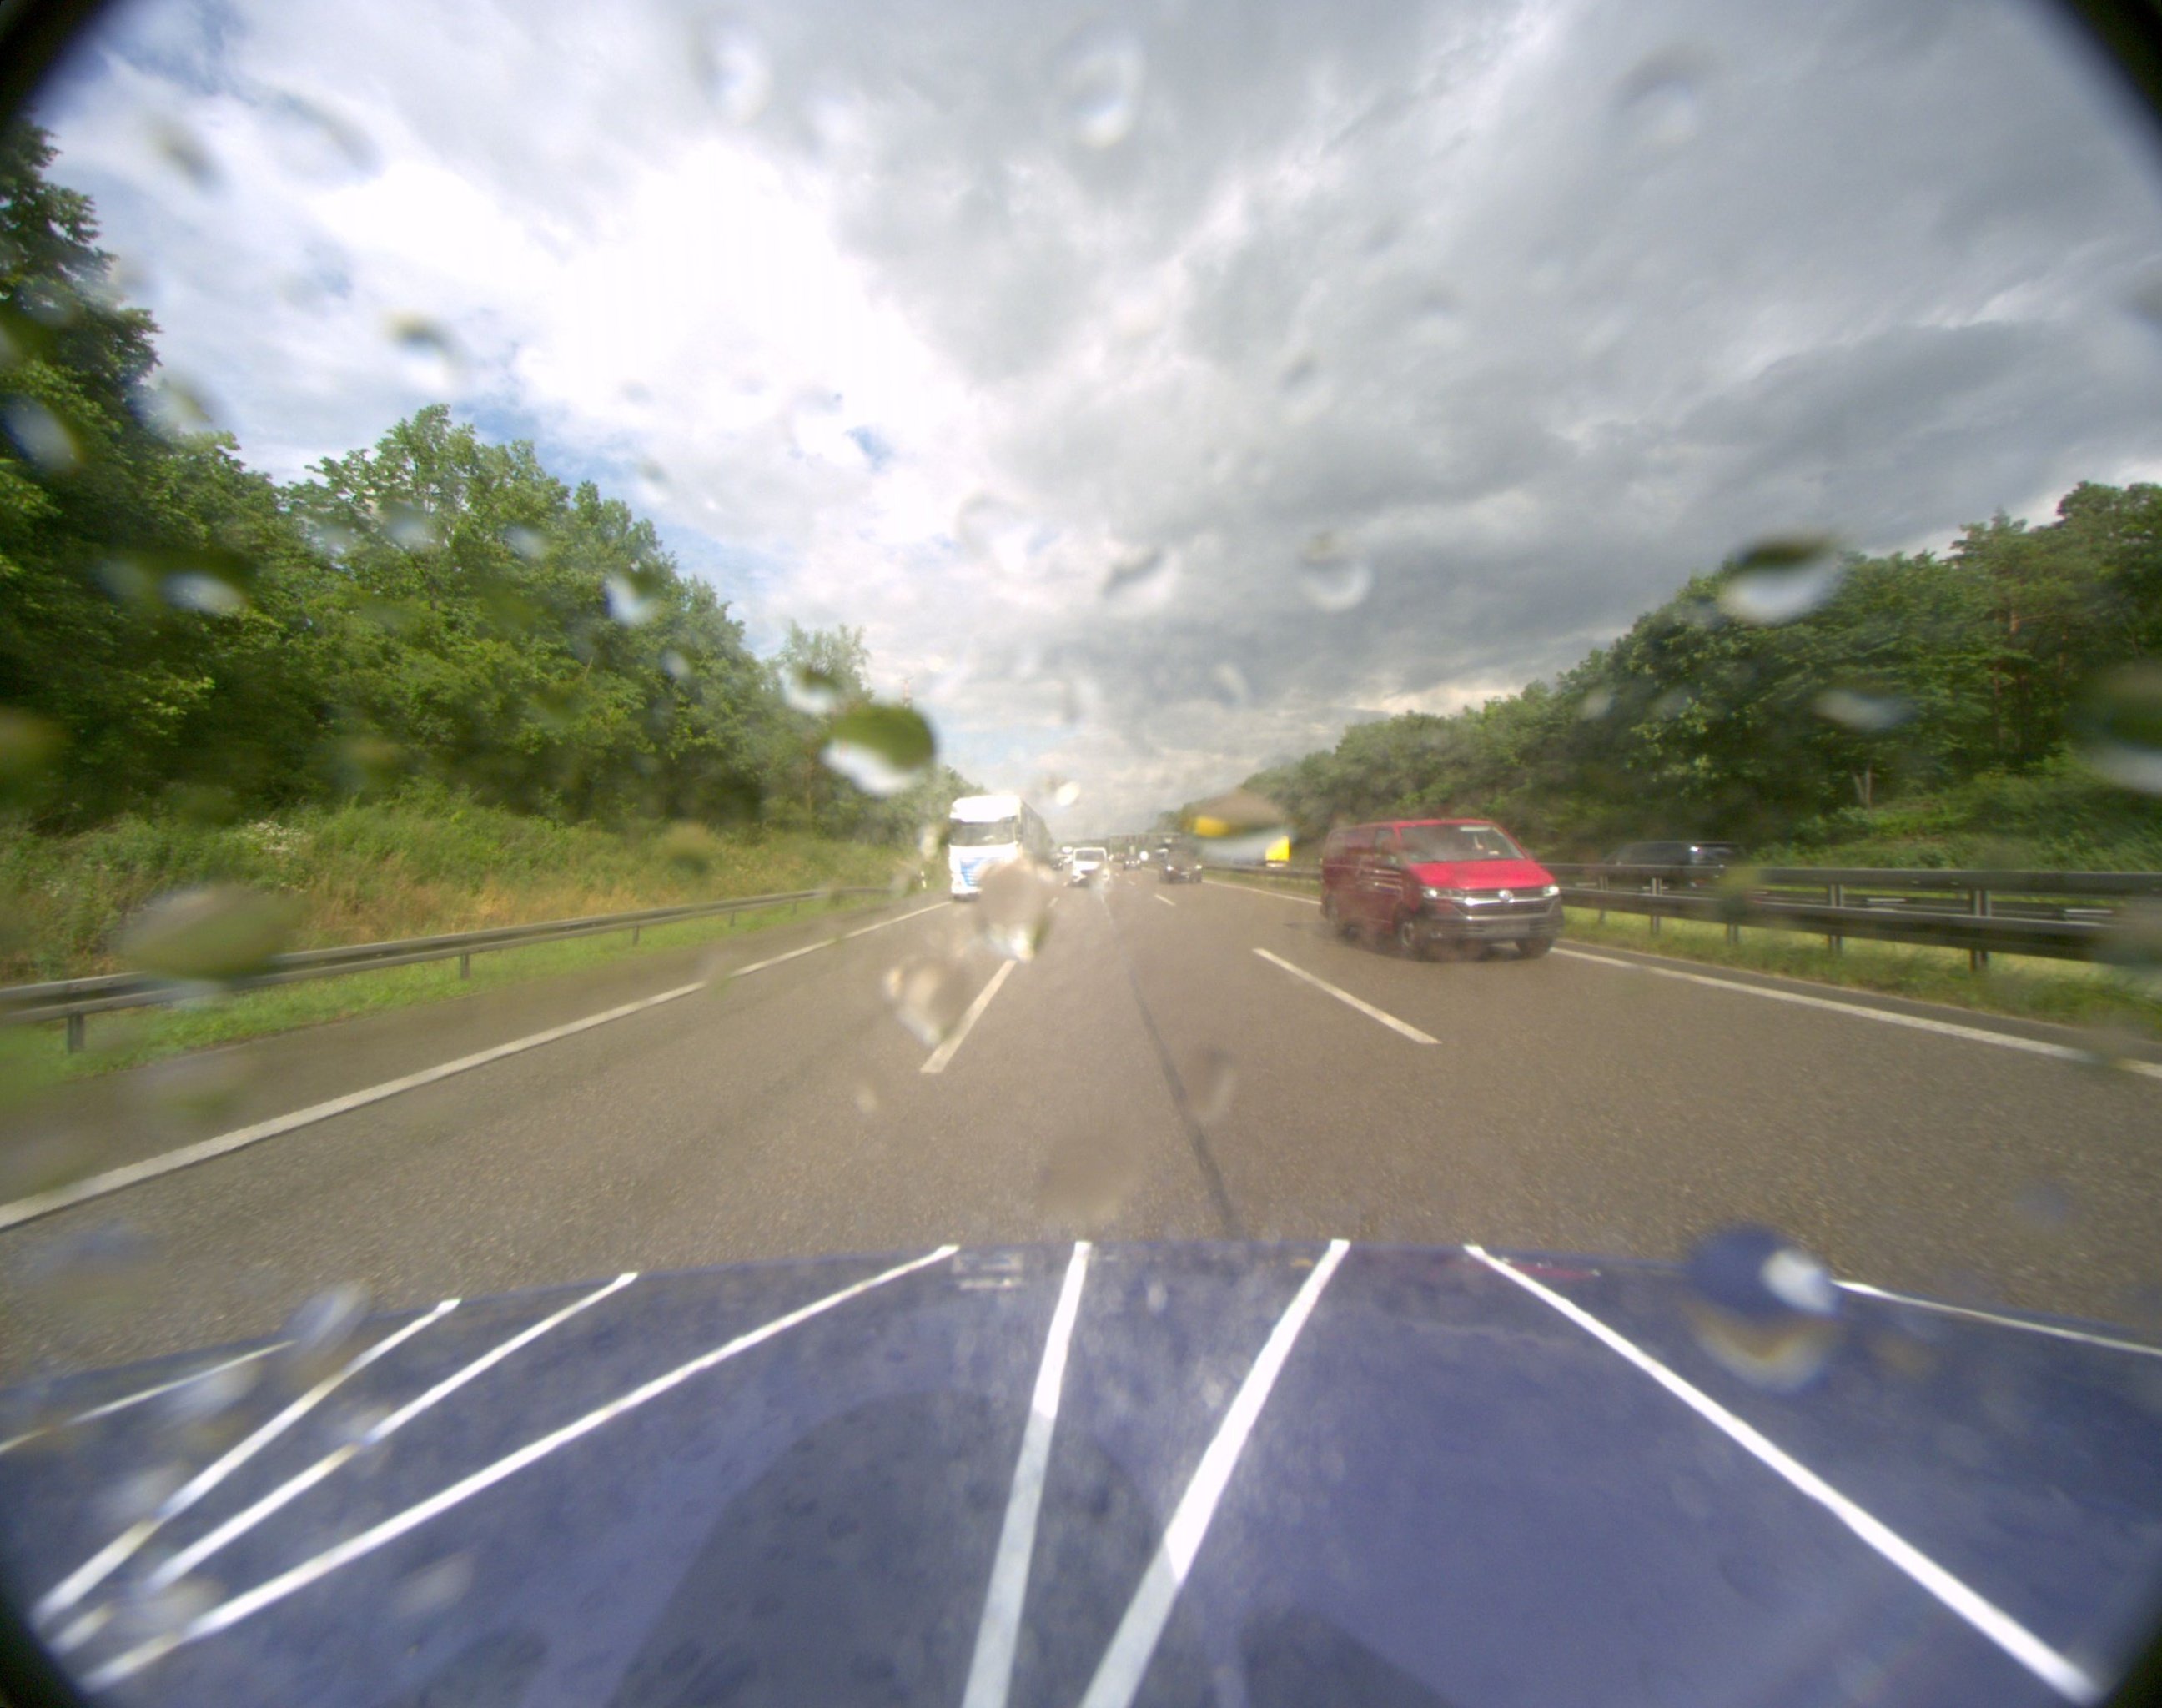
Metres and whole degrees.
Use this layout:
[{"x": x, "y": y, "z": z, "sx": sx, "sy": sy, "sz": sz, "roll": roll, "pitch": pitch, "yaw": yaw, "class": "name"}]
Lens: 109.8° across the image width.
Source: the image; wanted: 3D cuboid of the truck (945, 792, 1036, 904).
[{"x": -3.511, "y": -0.247, "z": 31.393, "sx": 2.613, "sy": 3.972, "sz": 7.290, "roll": -2, "pitch": 1, "yaw": 1, "class": "truck"}]

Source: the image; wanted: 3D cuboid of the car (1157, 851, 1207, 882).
[{"x": 5.342, "y": 0.632, "z": 40.935, "sx": 2.009, "sy": 1.488, "sz": 4.838, "roll": -2, "pitch": 0, "yaw": 0, "class": "car"}]

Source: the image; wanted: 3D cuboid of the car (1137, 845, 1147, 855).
[{"x": 17.372, "y": -1.109, "z": 215.648, "sx": 2.268, "sy": 2.853, "sz": 6.788, "roll": -2, "pitch": 0, "yaw": 0, "class": "car"}]

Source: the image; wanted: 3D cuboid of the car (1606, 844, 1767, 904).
[{"x": 18.351, "y": 0.545, "z": 23.287, "sx": 1.752, "sy": 1.625, "sz": 4.000, "roll": -2, "pitch": 0, "yaw": 1, "class": "car"}]

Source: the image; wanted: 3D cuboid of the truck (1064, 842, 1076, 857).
[{"x": -2.822, "y": -1.185, "z": 196.584, "sx": 3.064, "sy": 3.827, "sz": 8.798, "roll": -1, "pitch": 0, "yaw": -1, "class": "truck"}]

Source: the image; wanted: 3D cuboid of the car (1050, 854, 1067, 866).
[{"x": -2.660, "y": 0.700, "z": 90.929, "sx": 1.799, "sy": 1.410, "sz": 4.838, "roll": -2, "pitch": 0, "yaw": 0, "class": "car"}]

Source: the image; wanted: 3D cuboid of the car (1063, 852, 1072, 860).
[{"x": -2.721, "y": 0.337, "z": 152.610, "sx": 1.799, "sy": 1.410, "sz": 4.838, "roll": -2, "pitch": 0, "yaw": 0, "class": "car"}]

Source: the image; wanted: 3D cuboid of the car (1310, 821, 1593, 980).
[{"x": 5.224, "y": 0.547, "z": 11.631, "sx": 1.927, "sy": 1.855, "sz": 4.838, "roll": -2, "pitch": 0, "yaw": 0, "class": "car"}]

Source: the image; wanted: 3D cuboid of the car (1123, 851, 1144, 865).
[{"x": 5.501, "y": 0.391, "z": 80.099, "sx": 1.799, "sy": 1.410, "sz": 4.838, "roll": -2, "pitch": 0, "yaw": 0, "class": "car"}]

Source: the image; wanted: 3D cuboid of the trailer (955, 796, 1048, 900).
[{"x": -3.433, "y": -0.286, "z": 36.926, "sx": 2.641, "sy": 3.972, "sz": 14.064, "roll": -2, "pitch": 0, "yaw": 1, "class": "trailer"}]

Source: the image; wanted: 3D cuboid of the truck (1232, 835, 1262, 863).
[{"x": 22.647, "y": -0.713, "z": 103.896, "sx": 2.730, "sy": 3.643, "sz": 5.330, "roll": -2, "pitch": 1, "yaw": -1, "class": "truck"}]

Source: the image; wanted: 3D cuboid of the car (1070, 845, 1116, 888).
[{"x": 0.566, "y": 0.578, "z": 39.383, "sx": 2.124, "sy": 1.988, "sz": 5.982, "roll": -2, "pitch": 0, "yaw": 0, "class": "car"}]

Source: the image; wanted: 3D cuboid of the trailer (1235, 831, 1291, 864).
[{"x": 22.728, "y": -0.811, "z": 96.143, "sx": 2.730, "sy": 3.623, "sz": 16.674, "roll": -2, "pitch": 0, "yaw": -1, "class": "trailer"}]
